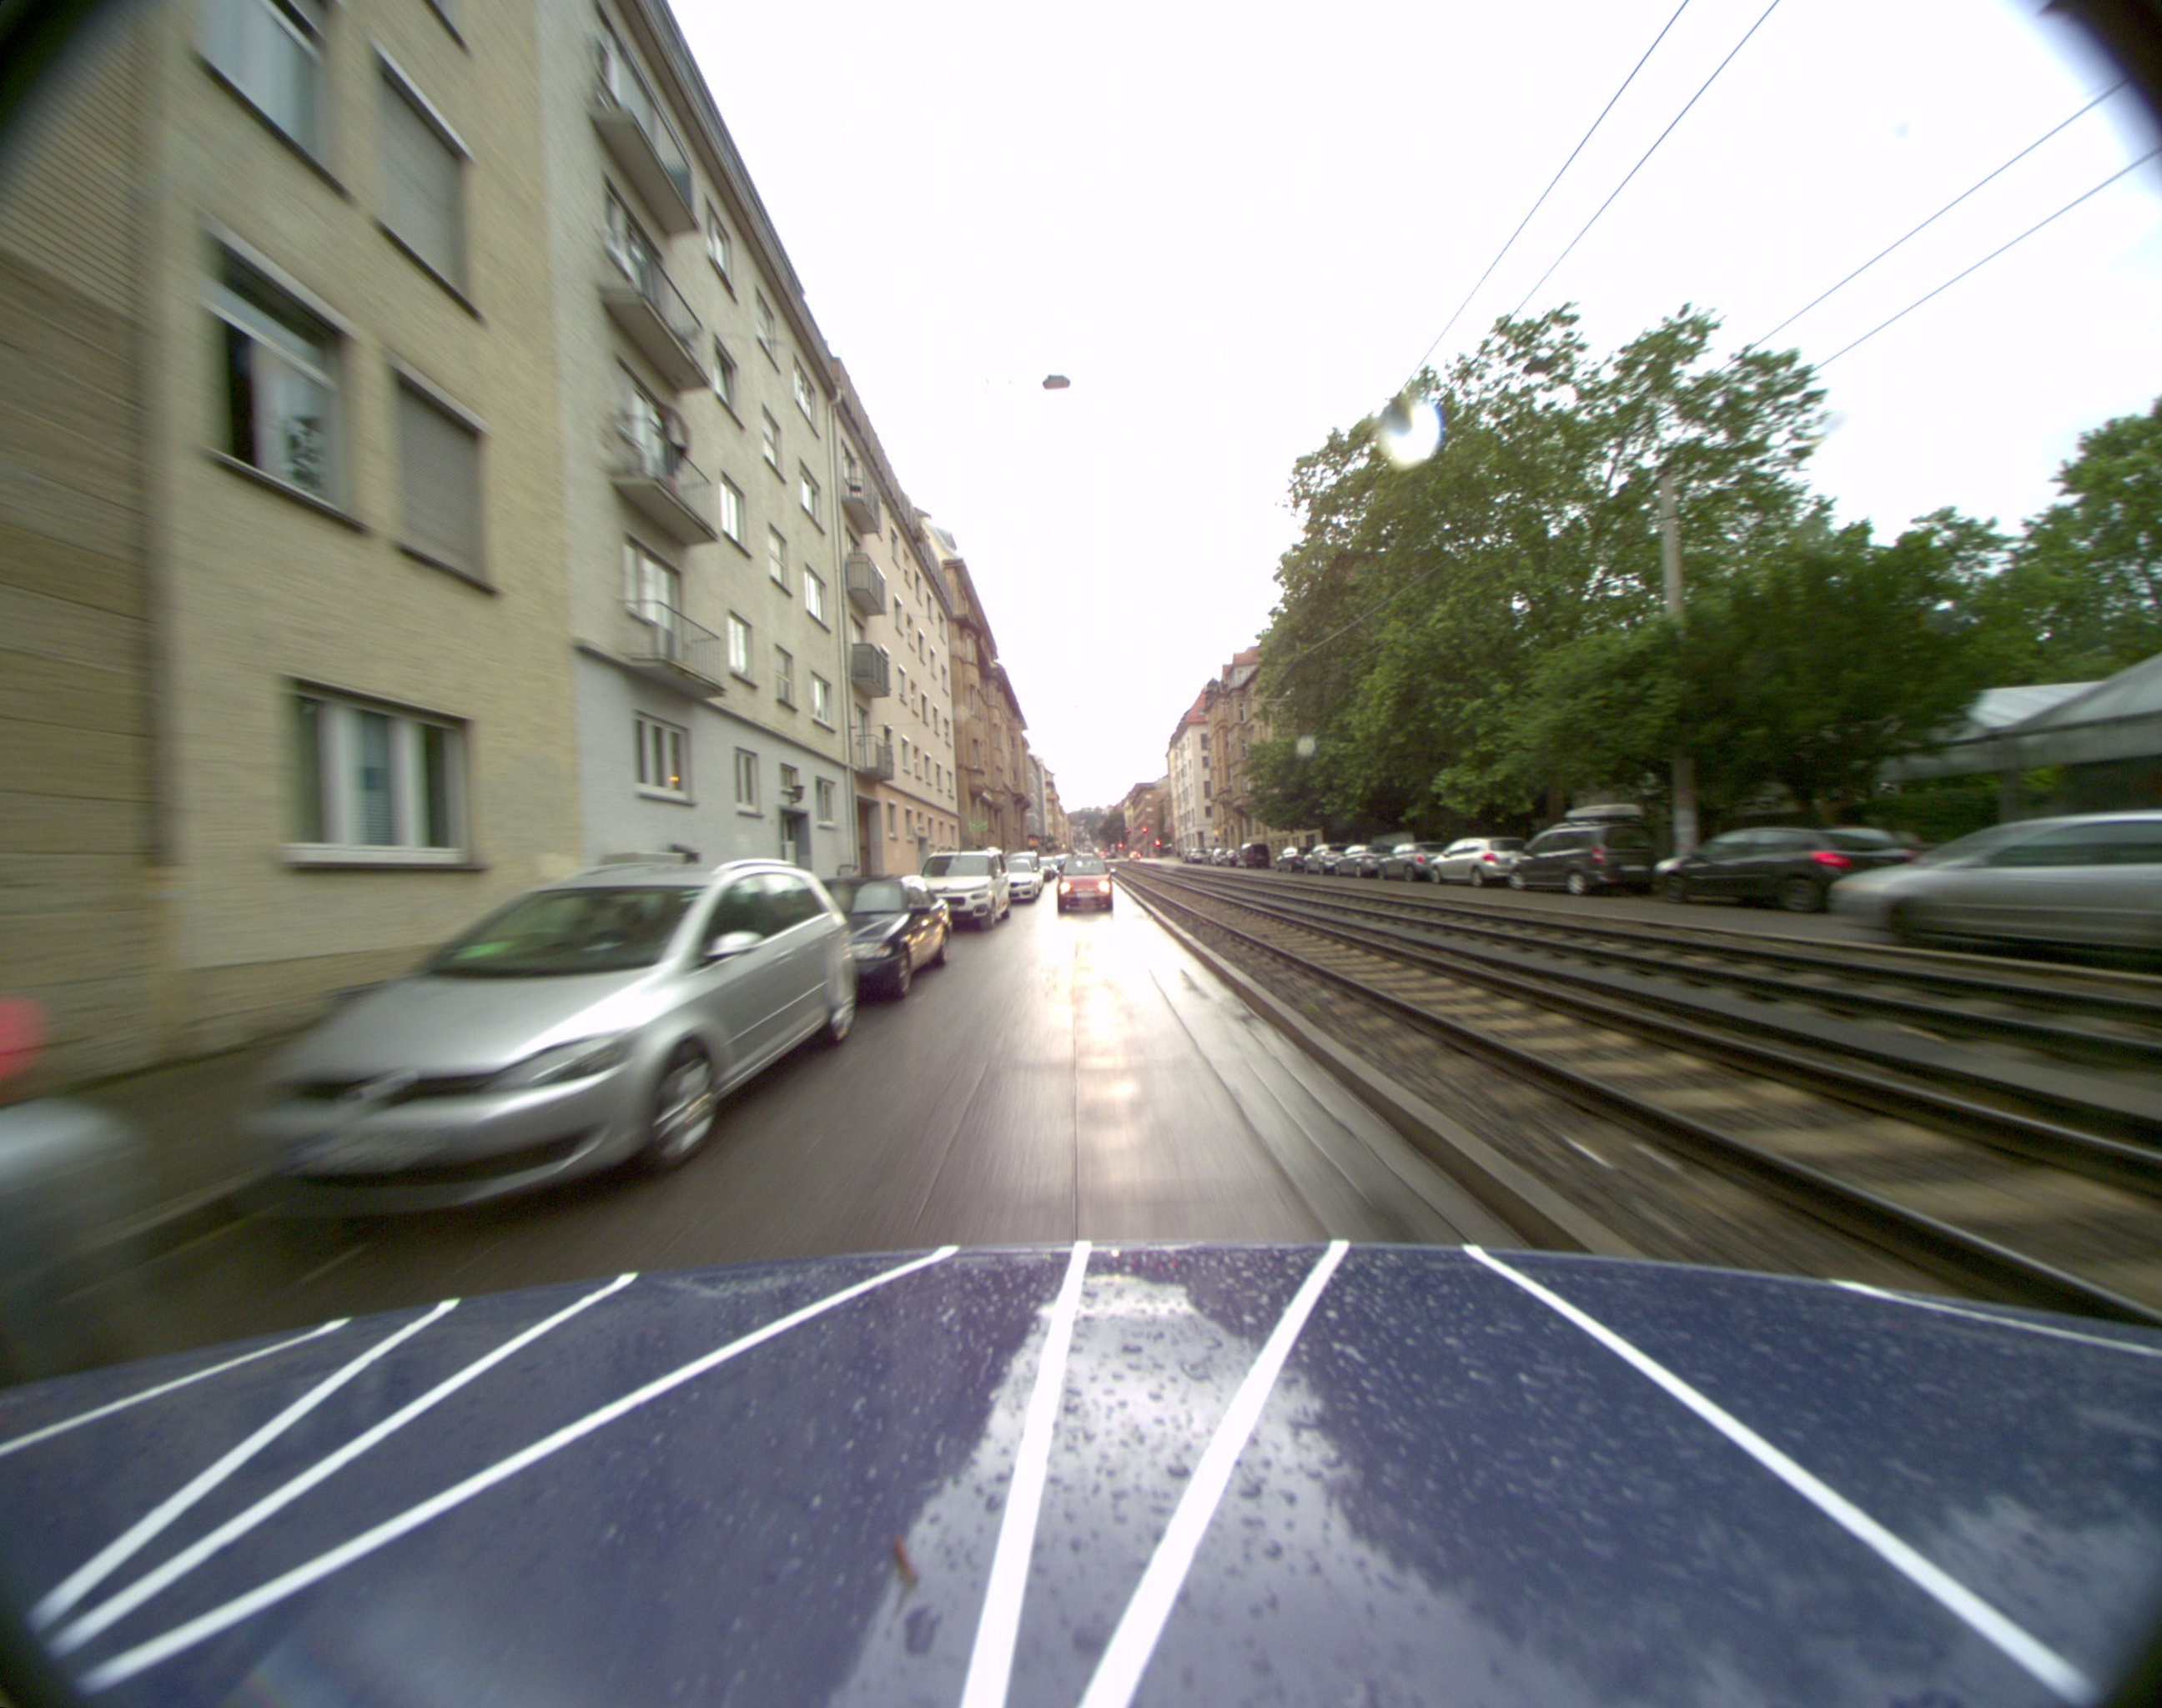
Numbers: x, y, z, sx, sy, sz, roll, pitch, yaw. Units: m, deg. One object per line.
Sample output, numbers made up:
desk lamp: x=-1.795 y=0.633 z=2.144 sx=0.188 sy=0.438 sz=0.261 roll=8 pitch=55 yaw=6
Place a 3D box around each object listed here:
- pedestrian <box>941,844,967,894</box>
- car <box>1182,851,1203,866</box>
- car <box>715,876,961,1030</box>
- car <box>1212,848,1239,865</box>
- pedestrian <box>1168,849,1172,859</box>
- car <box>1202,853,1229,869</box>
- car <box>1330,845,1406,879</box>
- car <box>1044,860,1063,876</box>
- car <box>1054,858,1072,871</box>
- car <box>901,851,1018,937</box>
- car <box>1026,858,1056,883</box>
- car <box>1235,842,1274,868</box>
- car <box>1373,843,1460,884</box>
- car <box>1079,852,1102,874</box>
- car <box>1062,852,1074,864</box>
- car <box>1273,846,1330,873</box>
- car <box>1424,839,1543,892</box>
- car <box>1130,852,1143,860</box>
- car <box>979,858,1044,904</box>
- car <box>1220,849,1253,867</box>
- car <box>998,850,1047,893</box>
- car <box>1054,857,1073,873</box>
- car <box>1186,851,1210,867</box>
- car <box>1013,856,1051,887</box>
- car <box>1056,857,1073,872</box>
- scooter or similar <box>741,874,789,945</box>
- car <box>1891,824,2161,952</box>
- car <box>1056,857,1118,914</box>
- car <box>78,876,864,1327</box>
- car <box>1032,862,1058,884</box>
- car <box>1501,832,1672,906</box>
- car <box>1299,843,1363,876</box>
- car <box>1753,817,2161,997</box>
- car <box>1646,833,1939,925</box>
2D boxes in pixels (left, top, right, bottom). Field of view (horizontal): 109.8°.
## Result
pedestrian: x=-4.729 y=0.557 z=28.359 sx=0.747 sy=1.823 sz=1.039 roll=0 pitch=0 yaw=2
car: x=13.028 y=0.525 z=88.870 sx=1.863 sy=1.592 sz=4.430 roll=-2 pitch=0 yaw=2
car: x=-2.819 y=1.070 z=9.951 sx=1.722 sy=1.339 sz=4.461 roll=-3 pitch=0 yaw=0
car: x=13.045 y=0.225 z=68.826 sx=1.699 sy=1.515 sz=3.855 roll=-1 pitch=0 yaw=1
pedestrian: x=15.820 y=0.070 z=134.914 sx=0.603 sy=1.708 sz=0.658 roll=-5 pitch=0 yaw=3
car: x=13.088 y=0.669 z=74.324 sx=1.875 sy=1.499 sz=4.169 roll=-2 pitch=0 yaw=0
car: x=12.617 y=0.327 z=33.659 sx=1.758 sy=1.405 sz=4.153 roll=-1 pitch=0 yaw=0
car: x=-2.488 y=1.249 z=68.985 sx=1.548 sy=1.406 sz=3.446 roll=-2 pitch=0 yaw=-1
car: x=-2.003 y=1.162 z=83.699 sx=1.759 sy=1.379 sz=4.484 roll=-1 pitch=0 yaw=-3
car: x=-2.728 y=0.839 z=18.093 sx=1.832 sy=1.740 sz=4.467 roll=-3 pitch=0 yaw=2
car: x=-2.477 y=1.016 z=48.145 sx=1.674 sy=1.402 sz=4.311 roll=-2 pitch=0 yaw=-1
car: x=12.777 y=0.061 z=56.357 sx=1.805 sy=1.836 sz=4.818 roll=-1 pitch=0 yaw=0
car: x=12.562 y=0.336 z=28.725 sx=1.543 sy=1.405 sz=3.952 roll=-1 pitch=0 yaw=0
car: x=0.914 y=0.857 z=73.726 sx=2.135 sy=2.002 sz=4.328 roll=-2 pitch=0 yaw=1
car: x=-1.993 y=0.628 z=116.212 sx=1.797 sy=1.750 sz=4.566 roll=-2 pitch=0 yaw=0
car: x=12.630 y=0.313 z=43.858 sx=1.854 sy=1.455 sz=4.550 roll=-1 pitch=0 yaw=-1
car: x=12.495 y=0.324 z=23.892 sx=1.543 sy=1.496 sz=4.154 roll=-1 pitch=0 yaw=0
car: x=10.123 y=0.329 z=139.790 sx=1.986 sy=1.448 sz=4.294 roll=-2 pitch=0 yaw=-1
car: x=-2.431 y=0.922 z=27.718 sx=1.876 sy=1.447 sz=4.902 roll=-2 pitch=0 yaw=-1
car: x=12.864 y=0.342 z=63.130 sx=1.767 sy=1.390 sz=4.269 roll=-1 pitch=0 yaw=-1
car: x=-2.546 y=0.717 z=33.878 sx=1.795 sy=1.755 sz=4.212 roll=-2 pitch=0 yaw=0
car: x=-1.663 y=1.061 z=73.609 sx=1.792 sy=1.453 sz=4.083 roll=-2 pitch=0 yaw=-1
car: x=12.934 y=0.499 z=84.067 sx=1.863 sy=1.643 sz=4.315 roll=-3 pitch=0 yaw=-1
car: x=-2.479 y=0.876 z=39.072 sx=1.574 sy=1.453 sz=3.599 roll=-2 pitch=0 yaw=1
car: x=-1.668 y=1.039 z=78.649 sx=1.711 sy=1.390 sz=4.018 roll=-2 pitch=0 yaw=-1
scooter or similar: x=-6.222 y=1.071 z=15.022 sx=0.388 sy=1.290 sz=1.171 roll=-2 pitch=0 yaw=1
car: x=12.434 y=0.361 z=9.007 sx=1.504 sy=1.383 sz=3.987 roll=-1 pitch=0 yaw=2
car: x=0.176 y=0.876 z=22.971 sx=1.683 sy=1.531 sz=4.018 roll=-2 pitch=0 yaw=0
car: x=-2.881 y=1.000 z=4.877 sx=1.697 sy=1.520 sz=4.000 roll=-3 pitch=0 yaw=1
car: x=-2.499 y=1.304 z=53.851 sx=1.672 sy=1.426 sz=3.956 roll=-2 pitch=0 yaw=-1
car: x=12.515 y=0.339 z=19.160 sx=1.580 sy=1.633 sz=4.071 roll=-1 pitch=0 yaw=0
car: x=12.617 y=0.267 z=38.637 sx=1.758 sy=1.527 sz=4.543 roll=-1 pitch=0 yaw=0
car: x=9.872 y=0.422 z=7.650 sx=1.822 sy=1.496 sz=4.631 roll=-3 pitch=0 yaw=-5
car: x=12.578 y=0.391 z=13.851 sx=1.679 sy=1.405 sz=4.010 roll=-1 pitch=0 yaw=2
